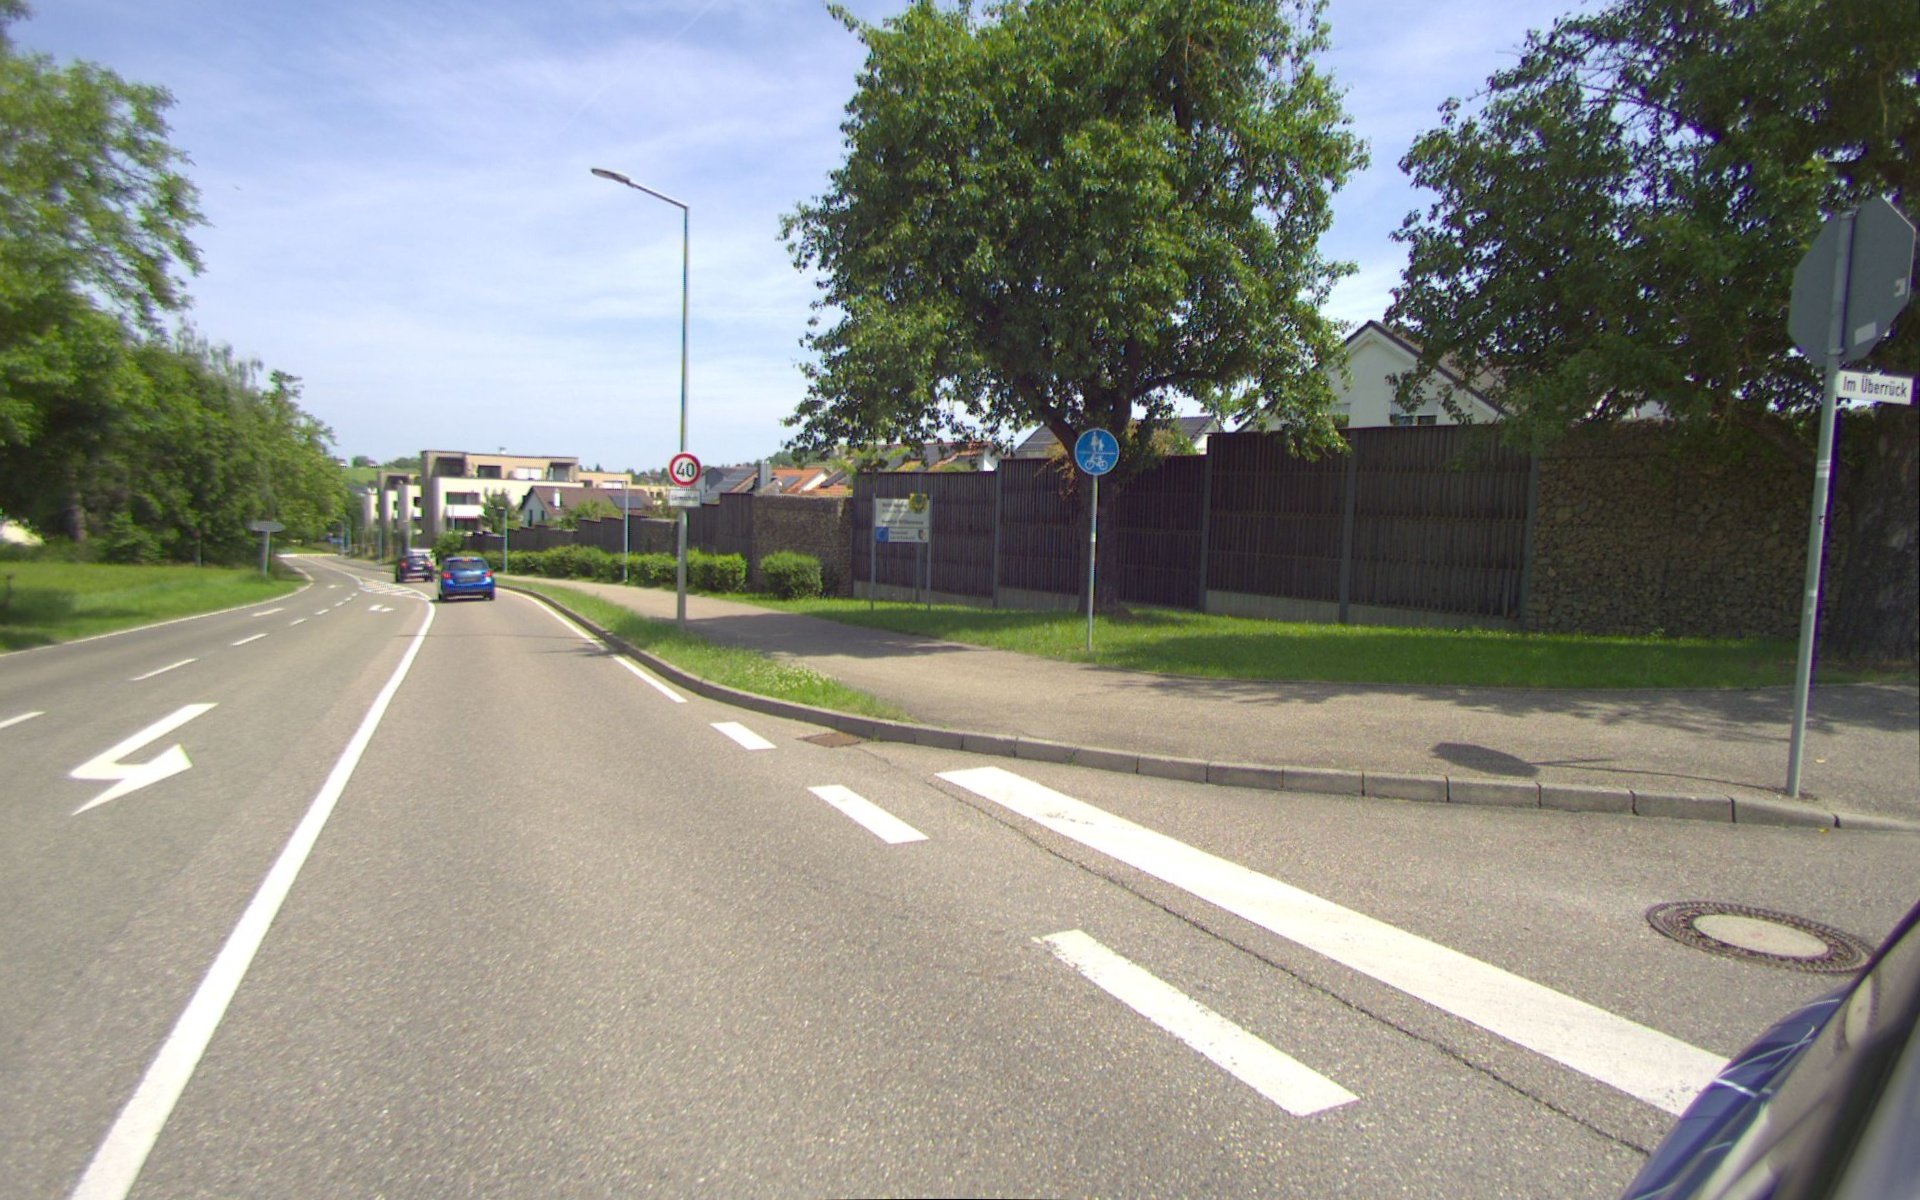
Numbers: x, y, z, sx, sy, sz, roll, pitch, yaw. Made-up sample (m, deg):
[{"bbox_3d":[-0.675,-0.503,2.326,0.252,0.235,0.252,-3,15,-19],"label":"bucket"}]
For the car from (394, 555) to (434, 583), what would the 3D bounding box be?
[{"bbox_3d":[-32.604,-1.893,60.364,1.794,1.600,4.003,-1,3,-32],"label":"car"}]

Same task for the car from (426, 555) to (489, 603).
[{"bbox_3d":[-17.459,-0.752,35.097,1.582,1.510,3.853,-4,4,-31],"label":"car"}]
